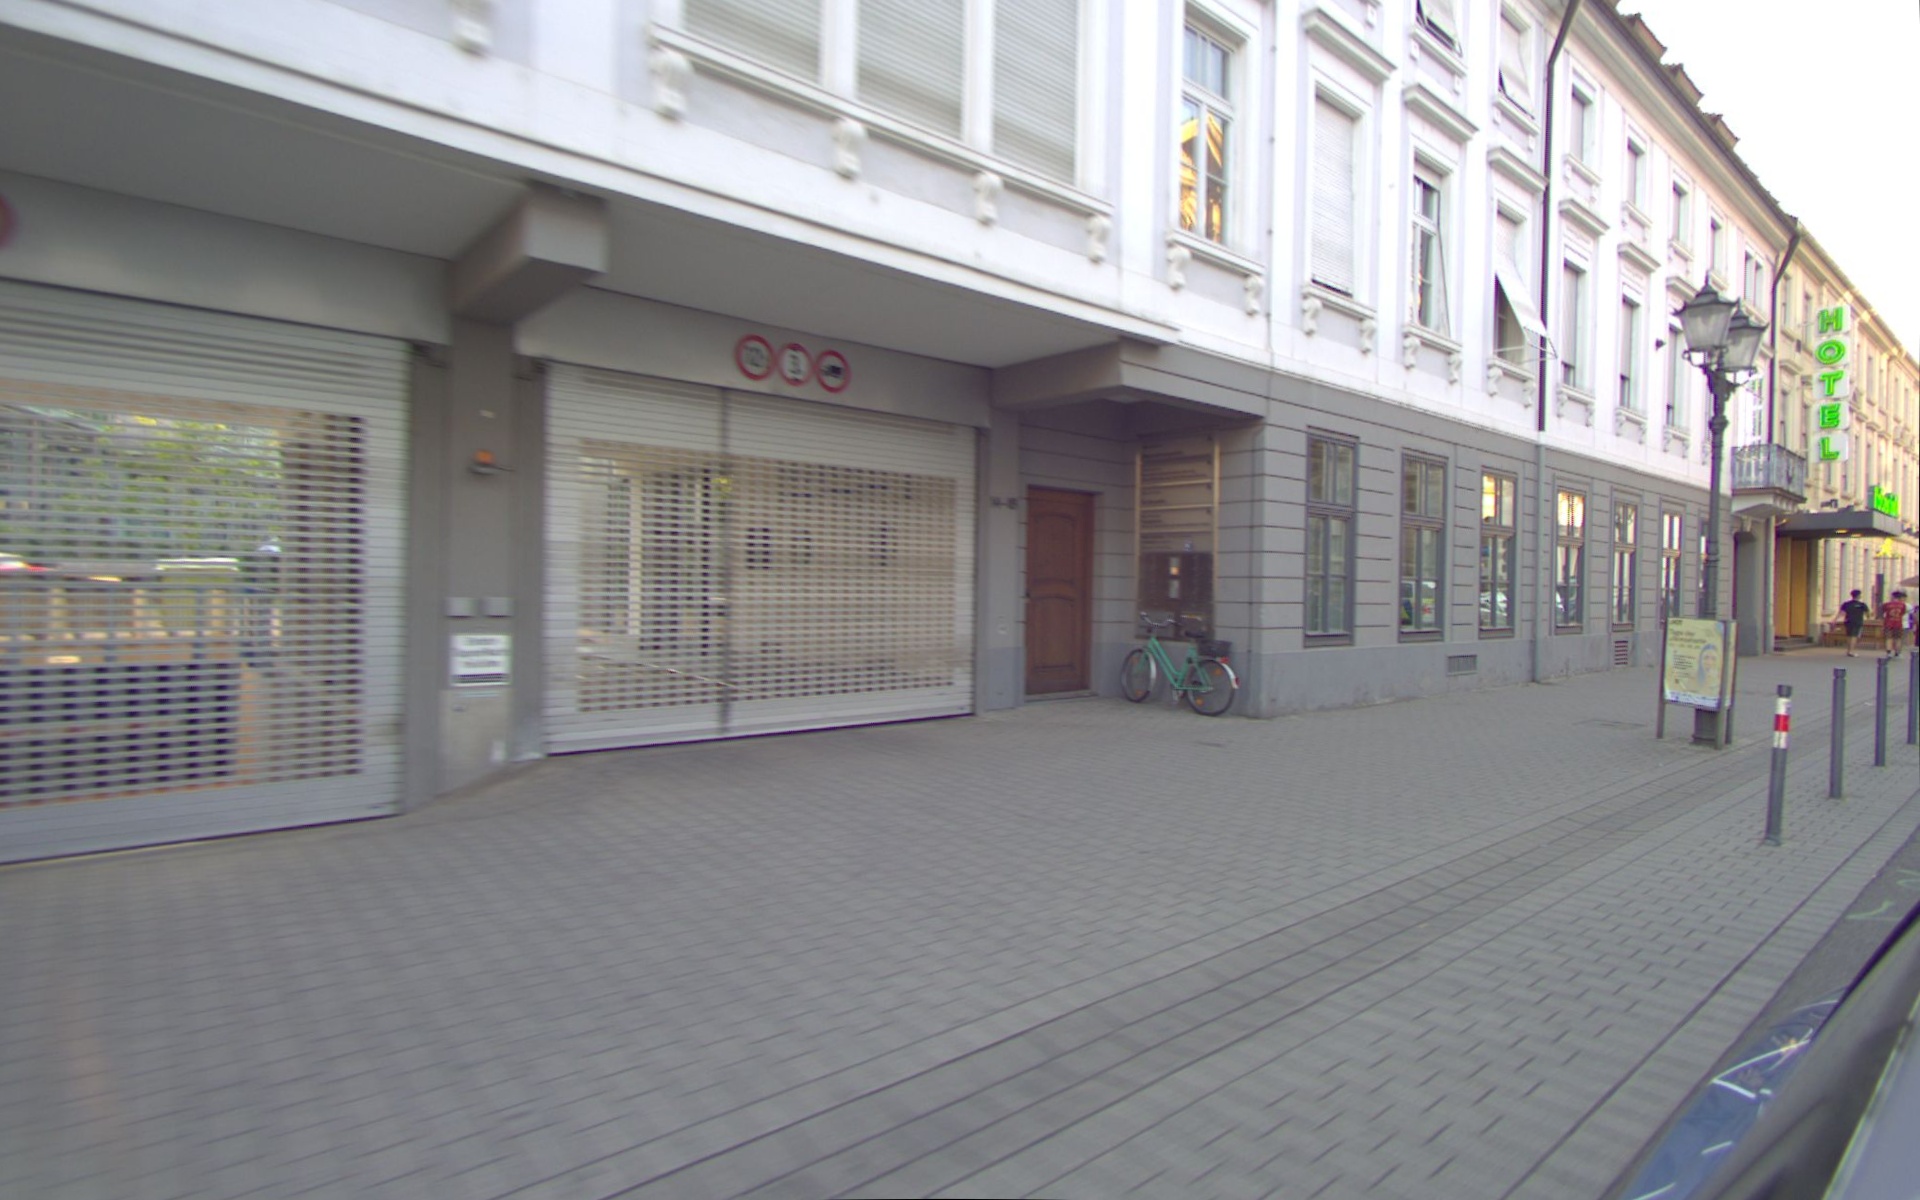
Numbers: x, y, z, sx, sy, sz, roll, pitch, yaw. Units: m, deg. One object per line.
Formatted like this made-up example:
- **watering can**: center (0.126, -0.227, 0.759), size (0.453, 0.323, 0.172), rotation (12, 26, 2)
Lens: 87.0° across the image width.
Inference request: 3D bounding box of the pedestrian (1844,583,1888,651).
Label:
- **pedestrian**: center (23.982, 0.432, 26.795), size (0.857, 1.752, 0.715), rotation (0, 0, -38)

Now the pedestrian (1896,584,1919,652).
- **pedestrian**: center (24.909, 0.464, 26.278), size (0.865, 1.752, 0.750), rotation (0, 0, -37)

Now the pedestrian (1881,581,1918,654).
- **pedestrian**: center (23.939, 0.435, 25.789), size (0.619, 1.812, 0.900), rotation (1, 0, 40)

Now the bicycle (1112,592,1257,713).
- **bicycle**: center (2.541, 0.555, 11.603), size (0.431, 1.268, 1.659), rotation (0, 1, -42)
